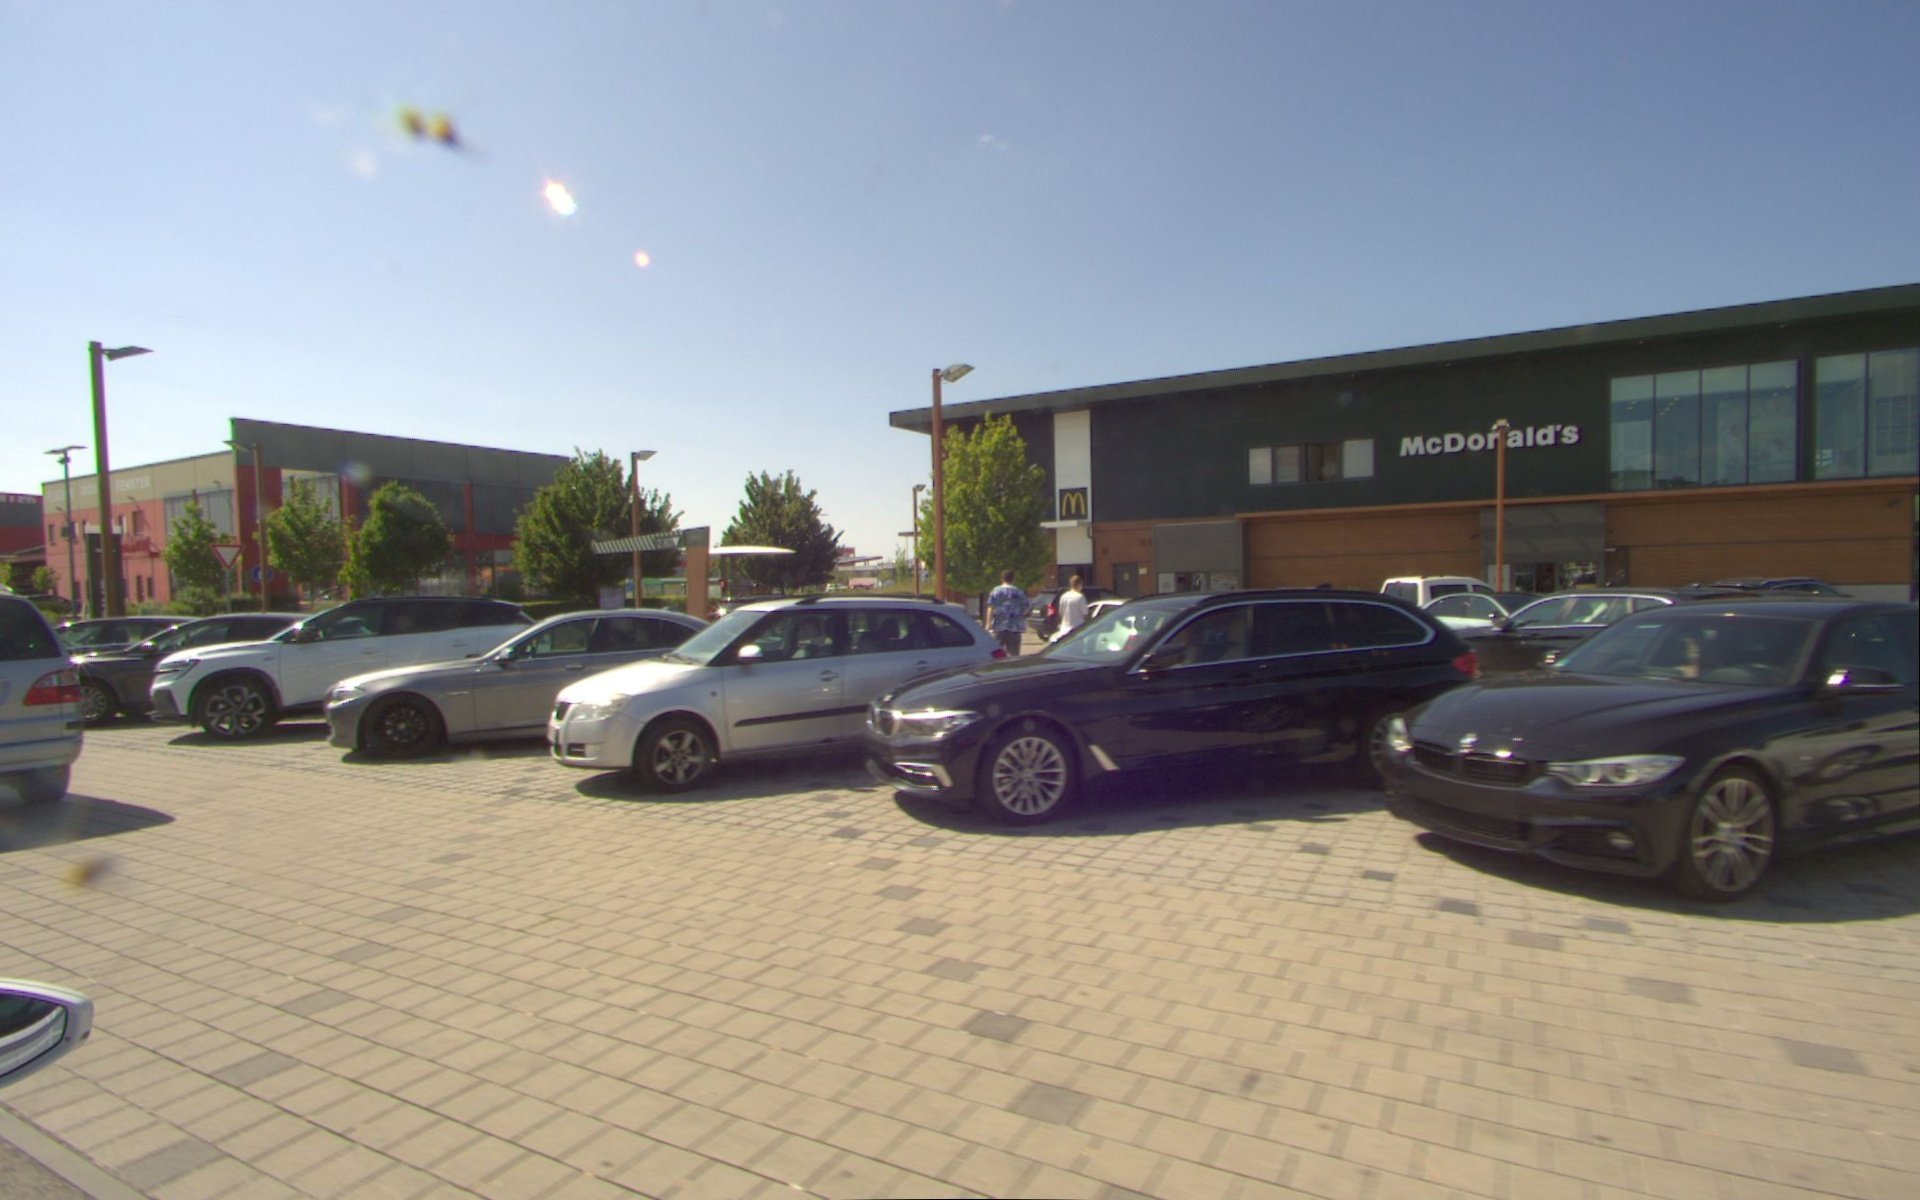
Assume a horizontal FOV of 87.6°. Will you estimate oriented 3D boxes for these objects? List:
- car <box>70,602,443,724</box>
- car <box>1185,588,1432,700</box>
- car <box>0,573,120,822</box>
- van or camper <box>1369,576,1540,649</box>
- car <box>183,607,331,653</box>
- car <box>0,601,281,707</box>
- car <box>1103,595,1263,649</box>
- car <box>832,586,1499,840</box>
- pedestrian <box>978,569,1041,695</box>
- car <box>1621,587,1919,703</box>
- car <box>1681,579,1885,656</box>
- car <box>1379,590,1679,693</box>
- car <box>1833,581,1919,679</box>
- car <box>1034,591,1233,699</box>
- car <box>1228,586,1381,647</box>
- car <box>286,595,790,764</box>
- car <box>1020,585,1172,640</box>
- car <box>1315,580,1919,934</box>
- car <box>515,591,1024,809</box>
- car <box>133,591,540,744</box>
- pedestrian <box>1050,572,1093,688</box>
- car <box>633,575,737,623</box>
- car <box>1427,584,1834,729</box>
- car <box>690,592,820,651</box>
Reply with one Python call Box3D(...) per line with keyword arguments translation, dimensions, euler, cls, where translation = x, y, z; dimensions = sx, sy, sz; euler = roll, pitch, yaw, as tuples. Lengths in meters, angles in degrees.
Box3D(translation=(-10.031, 0.824, 14.741), dimensions=(4.139, 1.546, 1.968), euler=(-1, 0, -24), cls="car")
Box3D(translation=(5.434, 0.610, 16.217), dimensions=(1.780, 1.535, 4.108), euler=(-1, 0, -15), cls="car")
Box3D(translation=(-8.966, 0.728, 8.051), dimensions=(4.612, 1.772, 1.825), euler=(-1, 1, 29), cls="car")
Box3D(translation=(12.937, 0.305, 26.220), dimensions=(3.958, 1.799, 1.708), euler=(-1, 1, -18), cls="van or camper")
Box3D(translation=(-24.955, 1.027, 35.674), dimensions=(1.653, 1.515, 3.977), euler=(0, 0, 33), cls="car")
Box3D(translation=(-13.888, 0.820, 16.287), dimensions=(4.256, 1.547, 1.971), euler=(-1, 1, -17), cls="car")
Box3D(translation=(6.673, 0.618, 29.926), dimensions=(4.396, 1.485, 1.955), euler=(-1, 0, -24), cls="car")
Box3D(translation=(1.534, 0.672, 7.728), dimensions=(4.700, 1.506, 1.971), euler=(-1, 0, -19), cls="car")
Box3D(translation=(0.753, 0.477, 15.426), dimensions=(0.818, 1.874, 0.770), euler=(-1, 1, -9), cls="pedestrian")
Box3D(translation=(13.064, 0.587, 15.528), dimensions=(1.861, 1.507, 4.637), euler=(-1, 0, -15), cls="car")
Box3D(translation=(18.867, 0.360, 22.980), dimensions=(3.964, 1.634, 1.713), euler=(-1, 1, -17), cls="car")
Box3D(translation=(9.669, 0.623, 17.535), dimensions=(1.861, 1.507, 4.637), euler=(-1, 0, -15), cls="car")
Box3D(translation=(15.961, 0.444, 14.605), dimensions=(1.861, 1.507, 4.637), euler=(-1, 0, -15), cls="car")
Box3D(translation=(2.691, 0.643, 16.542), dimensions=(1.681, 1.513, 4.108), euler=(-1, 0, -15), cls="car")
Box3D(translation=(9.627, 0.413, 27.996), dimensions=(3.884, 1.536, 1.708), euler=(-1, 3, -21), cls="car")
Box3D(translation=(-4.490, 0.750, 11.247), dimensions=(4.766, 1.546, 1.969), euler=(-1, 0, -23), cls="car")
Box3D(translation=(4.289, 0.366, 31.682), dimensions=(4.393, 1.624, 1.956), euler=(-1, 0, -22), cls="car")
Box3D(translation=(4.426, 0.645, 5.822), dimensions=(4.296, 1.479, 1.831), euler=(-1, 0, -21), cls="car")
Box3D(translation=(-1.678, 0.715, 9.138), dimensions=(4.148, 1.546, 1.964), euler=(-1, 0, -31), cls="car")
Box3D(translation=(-7.773, 0.744, 12.963), dimensions=(4.143, 1.676, 1.966), euler=(-1, 1, -28), cls="car")
Box3D(translation=(1.761, 0.464, 15.891), dimensions=(0.459, 1.792, 0.551), euler=(-1, 1, -23), cls="pedestrian")
Box3D(translation=(-13.567, -0.063, 49.746), dimensions=(1.970, 2.226, 5.082), euler=(0, 0, 30), cls="car")
Box3D(translation=(8.308, 0.602, 12.957), dimensions=(1.780, 1.507, 4.273), euler=(-1, 0, -15), cls="car")
Box3D(translation=(-6.430, 0.619, 31.890), dimensions=(1.964, 1.714, 4.221), euler=(0, 1, 25), cls="car")
